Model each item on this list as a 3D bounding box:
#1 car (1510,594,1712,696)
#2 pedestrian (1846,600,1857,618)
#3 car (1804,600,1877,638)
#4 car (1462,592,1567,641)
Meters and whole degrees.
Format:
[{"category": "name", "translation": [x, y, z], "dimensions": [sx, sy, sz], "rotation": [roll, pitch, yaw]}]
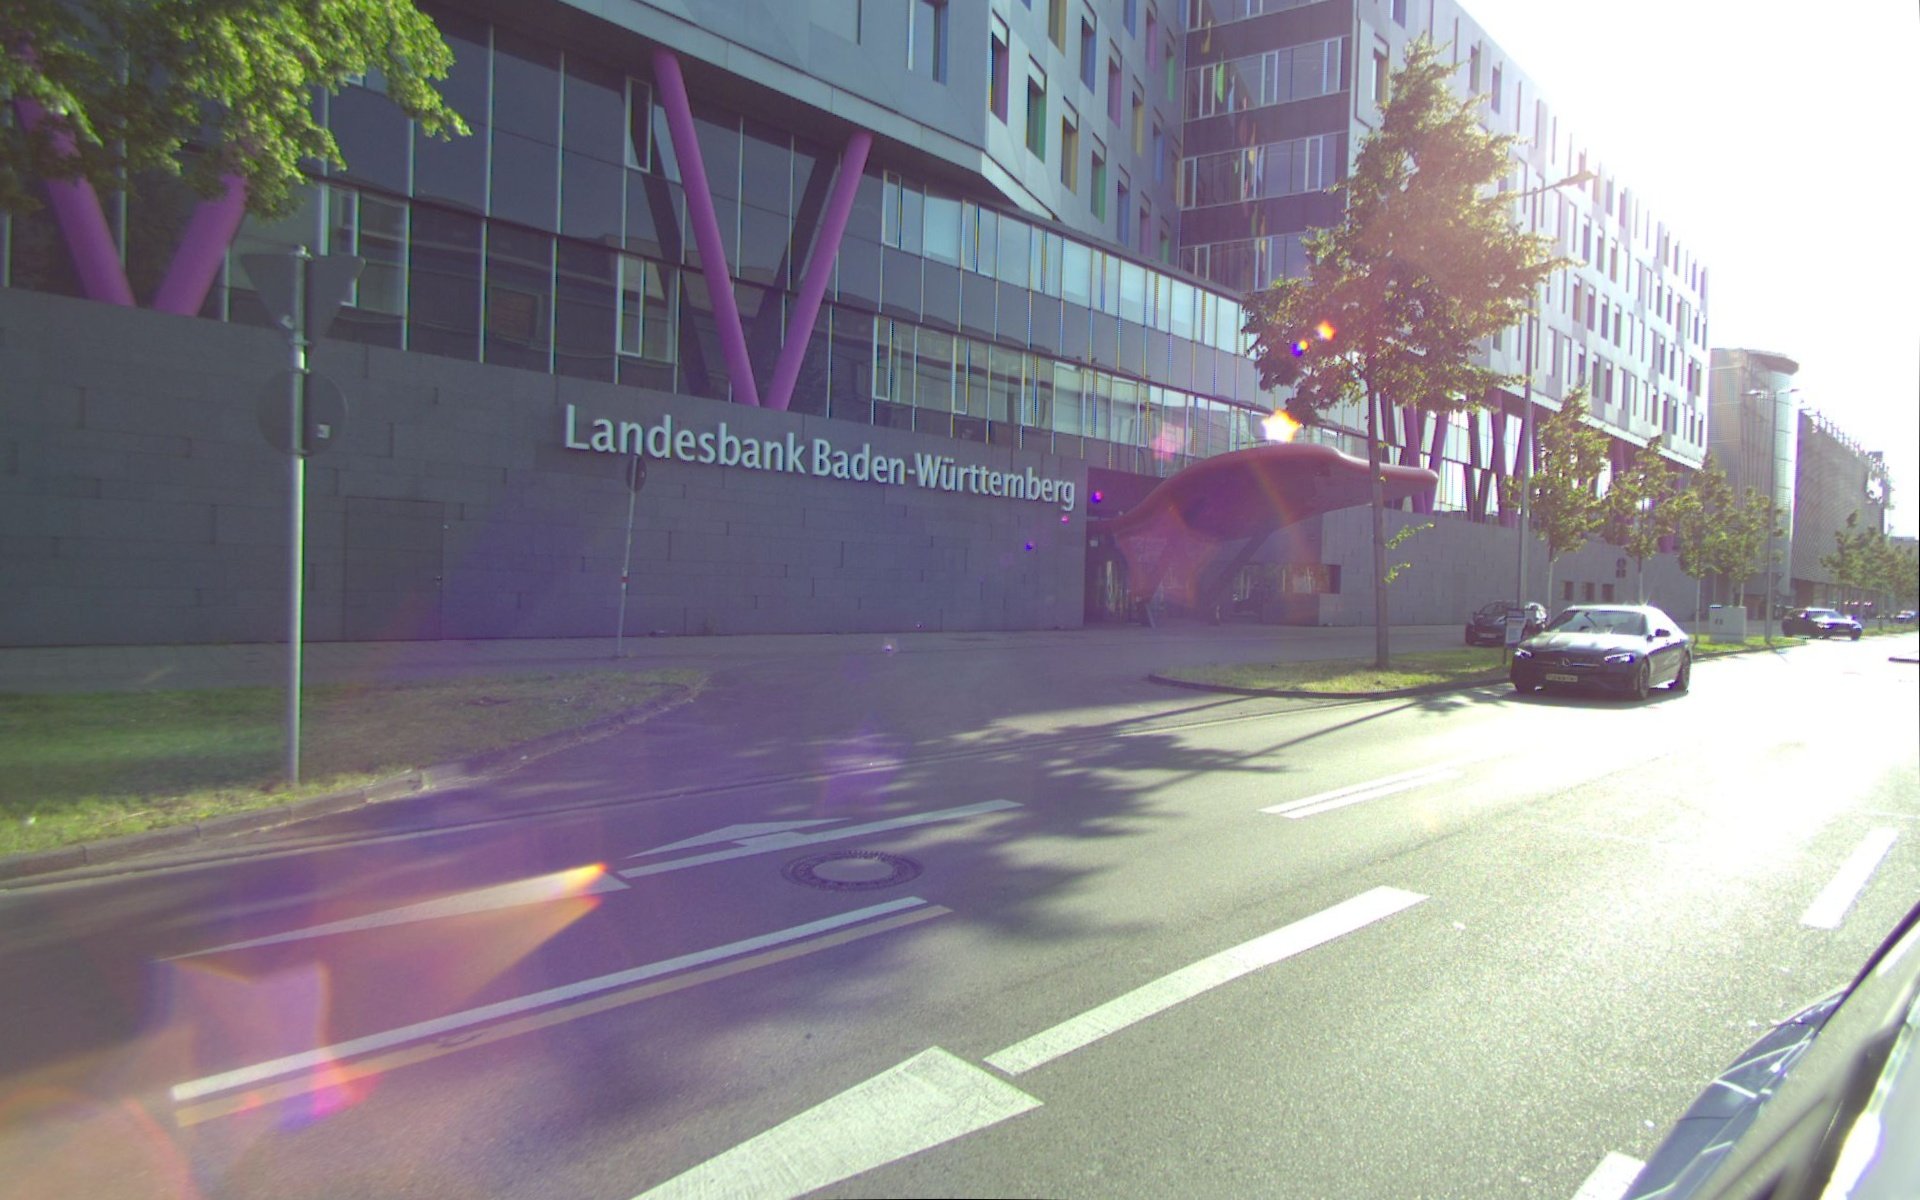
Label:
[{"category": "car", "translation": [11.047, 0.688, 17.039], "dimensions": [4.479, 1.468, 1.841], "rotation": [1, 0, -43]}, {"category": "pedestrian", "translation": [89.516, 0.900, 101.610], "dimensions": [0.758, 1.809, 0.724], "rotation": [1, 1, -42]}, {"category": "car", "translation": [42.414, 0.886, 48.839], "dimensions": [1.881, 1.443, 4.426], "rotation": [1, 4, 31]}, {"category": "car", "translation": [17.510, 0.516, 31.877], "dimensions": [4.128, 1.407, 1.693], "rotation": [1, 1, -44]}]
